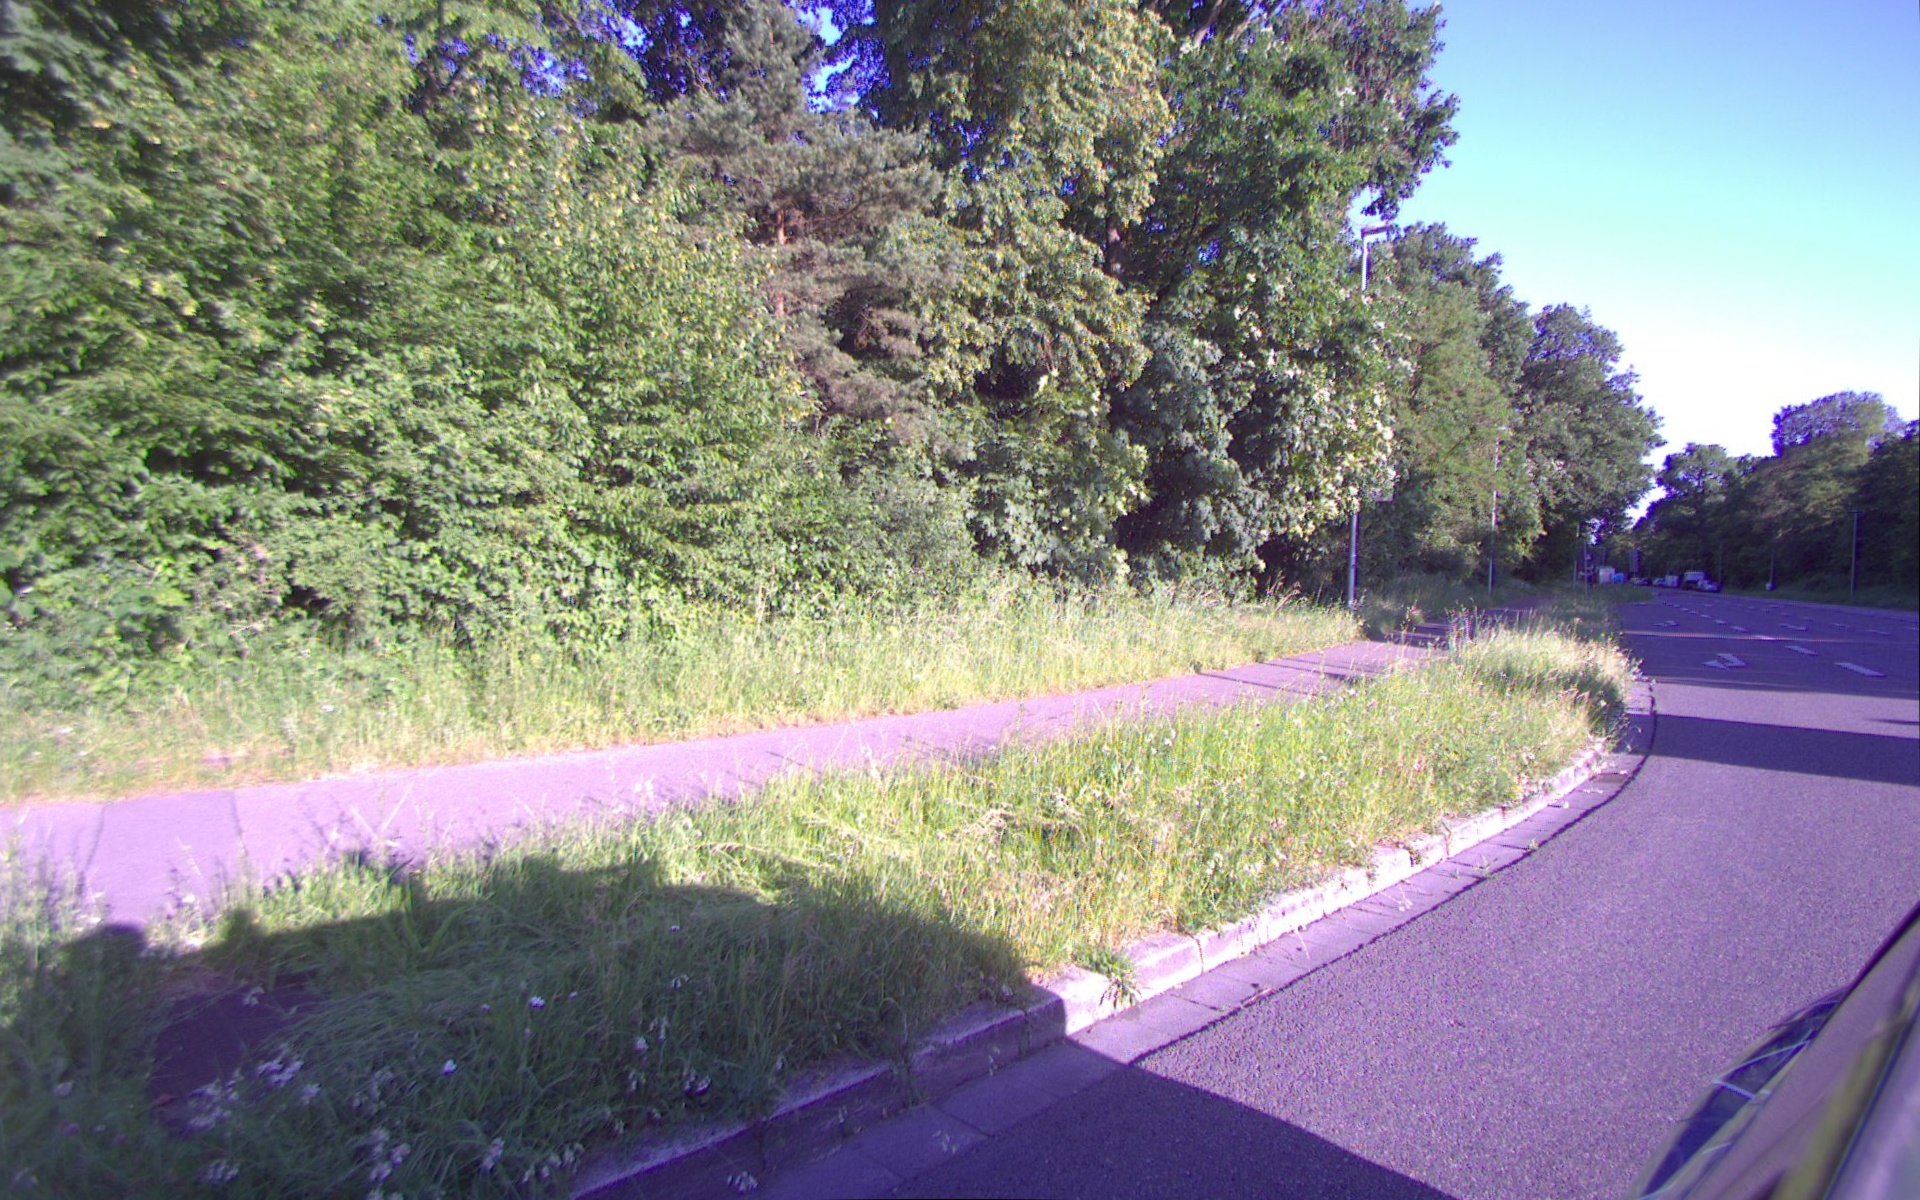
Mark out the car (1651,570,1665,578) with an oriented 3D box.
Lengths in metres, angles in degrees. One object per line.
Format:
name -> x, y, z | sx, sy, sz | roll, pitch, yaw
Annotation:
car -> 138.284, -5.168, 200.418 | 1.792, 1.523, 3.873 | 4, 4, 29

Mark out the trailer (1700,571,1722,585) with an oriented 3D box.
trailer -> 102.554, -3.042, 138.198 | 1.792, 1.750, 3.611 | 4, 4, 29

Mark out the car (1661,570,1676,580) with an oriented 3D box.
car -> 130.652, -4.625, 186.702 | 1.792, 1.523, 3.873 | 4, 4, 29

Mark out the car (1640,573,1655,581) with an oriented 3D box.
car -> 127.636, -4.231, 187.936 | 1.818, 1.473, 4.437 | 3, 3, 28

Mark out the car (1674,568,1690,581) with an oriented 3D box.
car -> 125.162, -4.471, 175.511 | 1.678, 2.126, 4.586 | 4, 4, 29

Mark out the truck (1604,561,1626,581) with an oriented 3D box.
truck -> 97.502, -4.306, 150.720 | 2.370, 2.907, 5.542 | 0, 2, 29

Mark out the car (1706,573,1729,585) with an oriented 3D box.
car -> 100.153, -2.775, 133.853 | 1.900, 1.481, 3.972 | 4, 4, 29

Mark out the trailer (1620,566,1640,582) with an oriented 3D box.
trailer -> 89.488, -3.492, 135.145 | 1.854, 2.204, 4.088 | 1, 2, 29

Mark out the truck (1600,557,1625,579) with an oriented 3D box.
truck -> 102.310, -5.060, 158.751 | 2.685, 3.276, 7.057 | 4, 4, 29

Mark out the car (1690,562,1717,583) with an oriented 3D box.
car -> 109.070, -4.019, 148.477 | 2.441, 2.881, 4.751 | 4, 4, 29
